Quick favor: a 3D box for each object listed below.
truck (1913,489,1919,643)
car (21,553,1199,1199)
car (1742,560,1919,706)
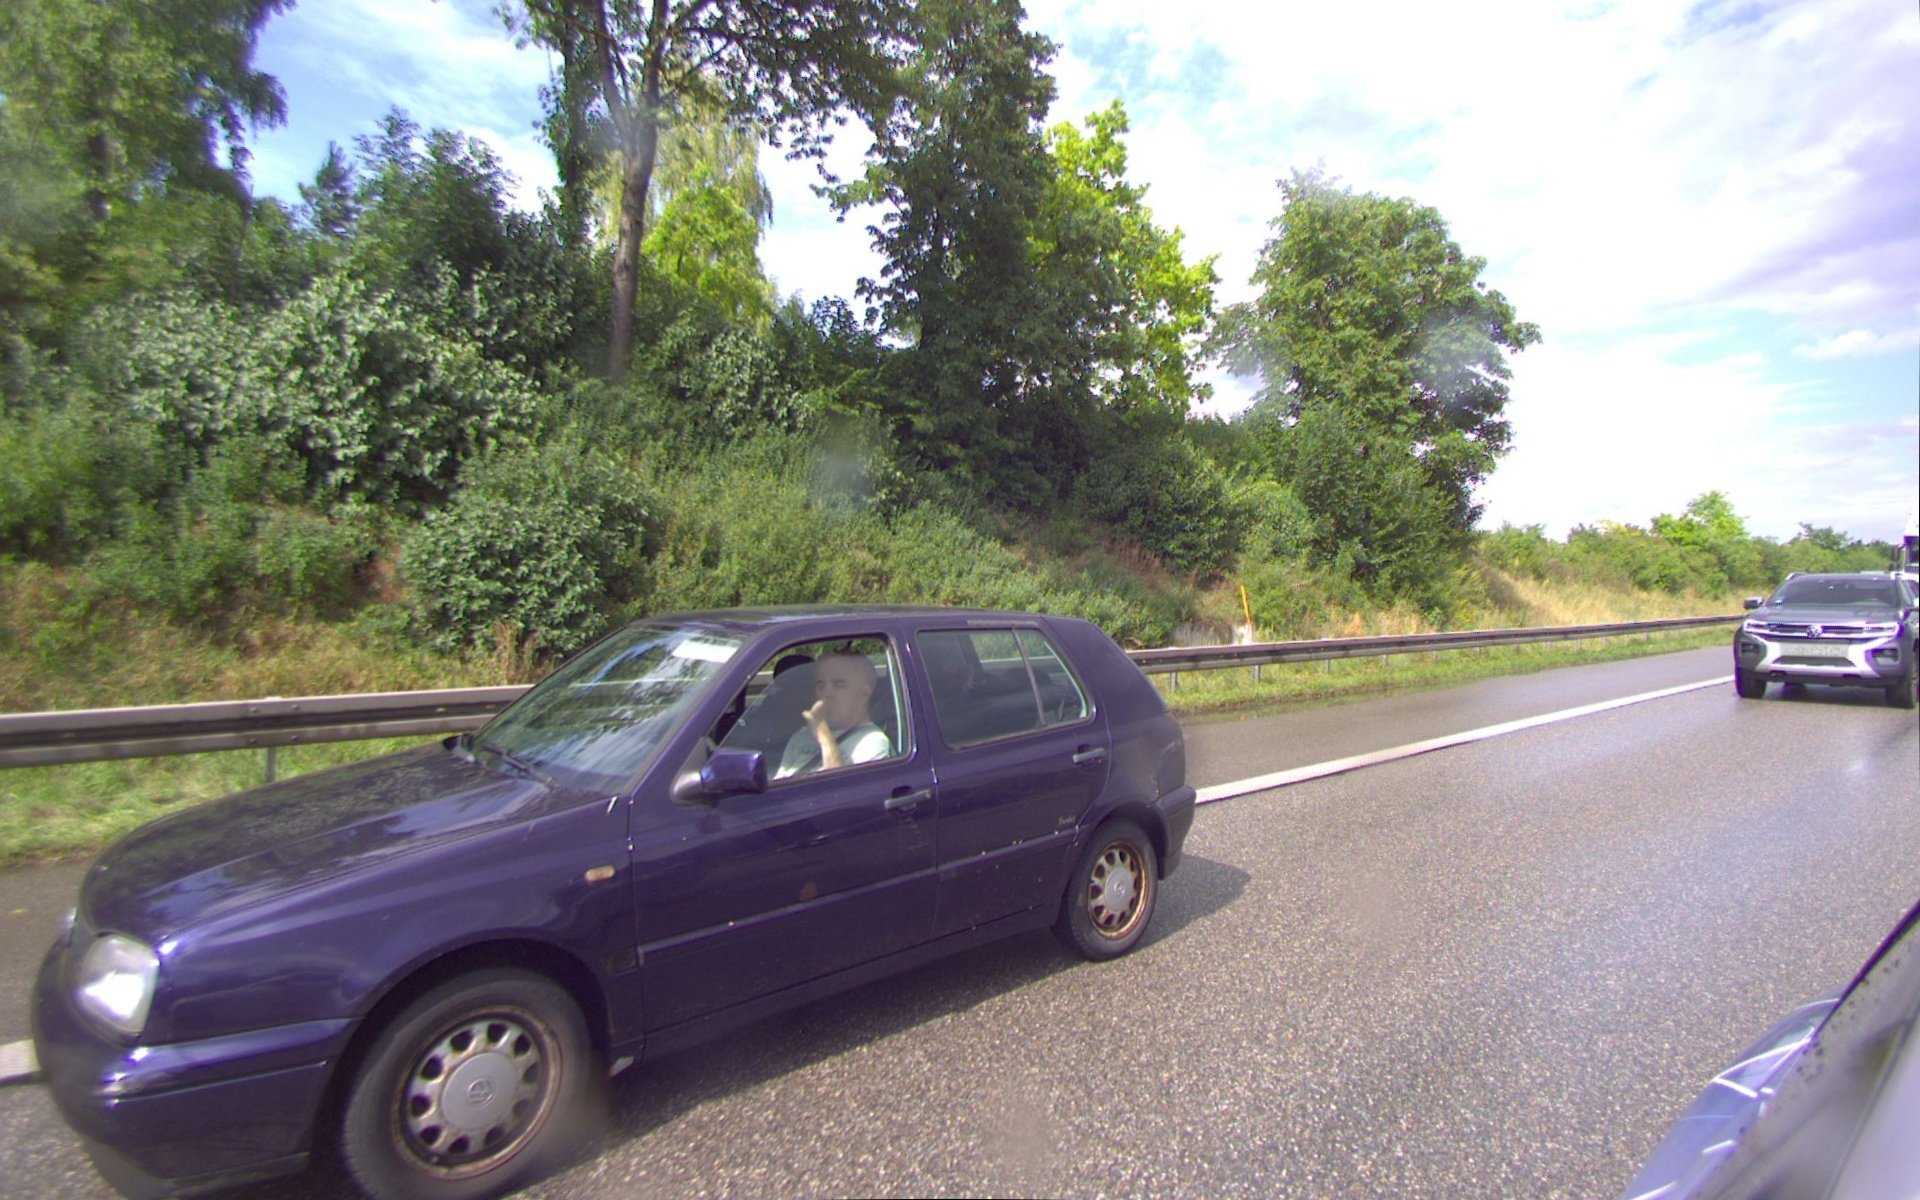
[{"bbox_3d":[28.546,-0.926,28.158,5.239,4.155,2.458,0,0,-41],"label":"truck"},{"bbox_3d":[-0.887,0.623,3.692,3.681,1.474,1.653,-1,1,-42],"label":"car"},{"bbox_3d":[13.374,0.374,15.011,5.213,1.826,1.830,0,1,-41],"label":"car"}]
